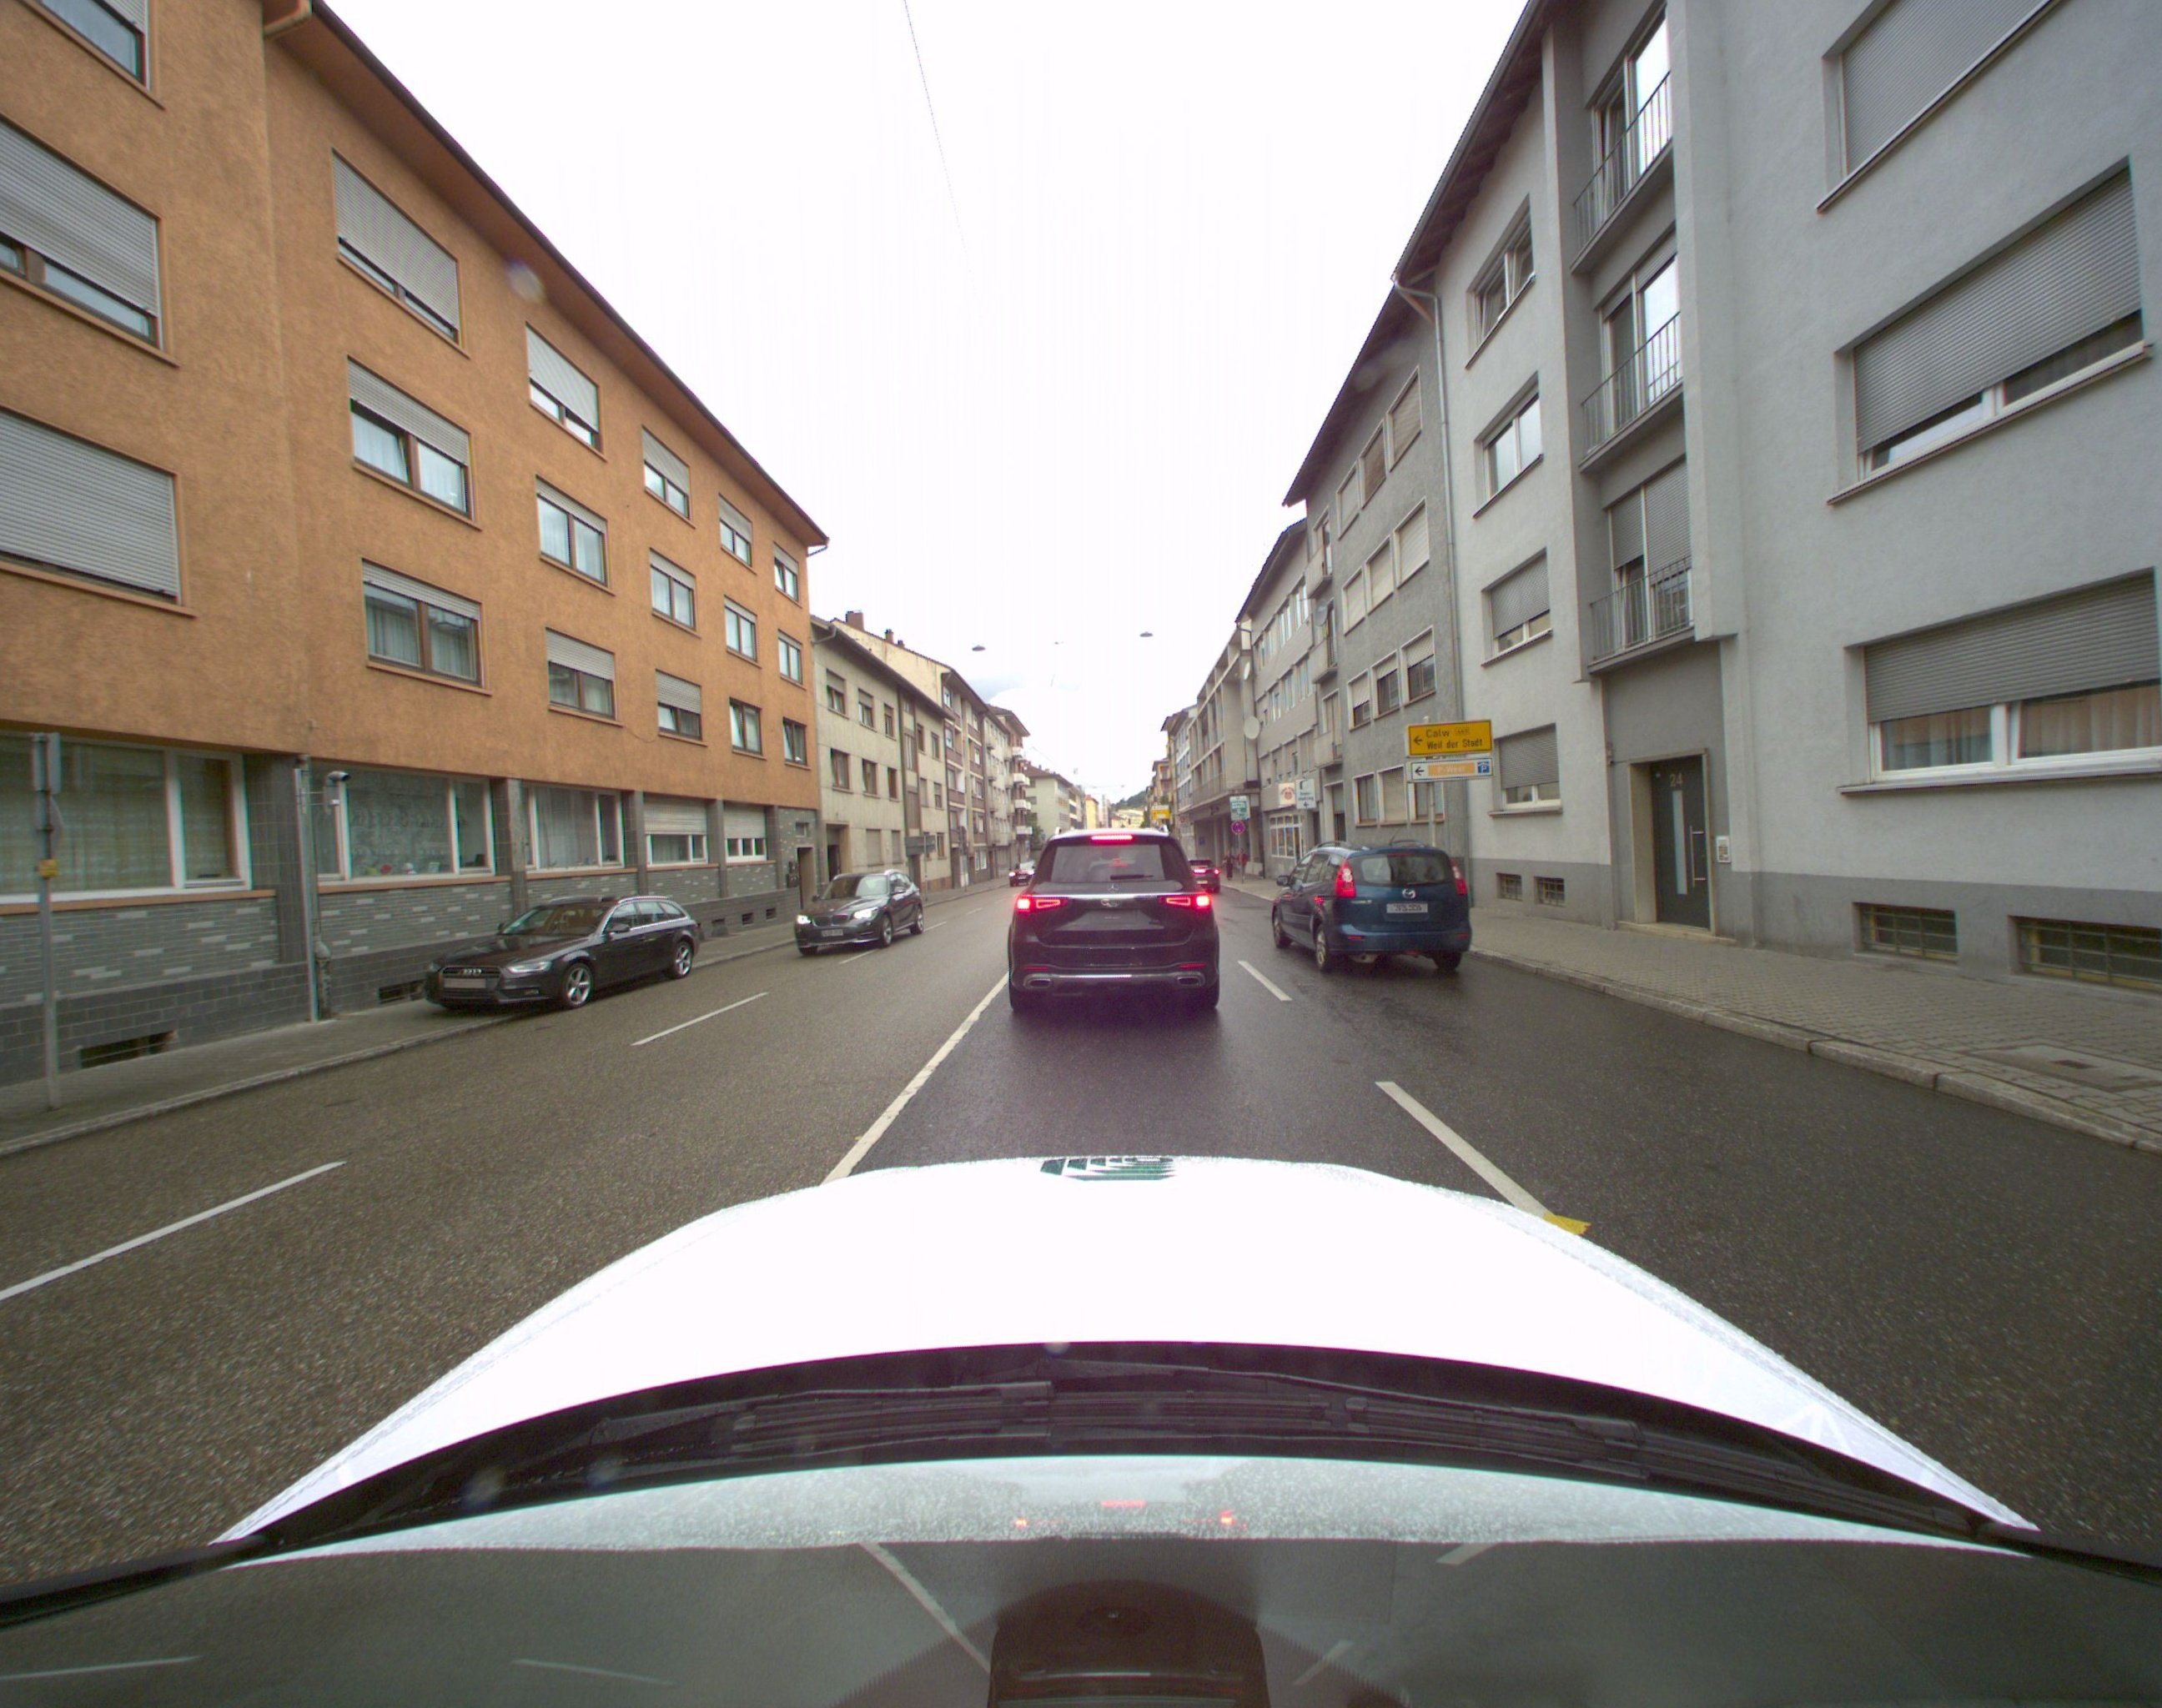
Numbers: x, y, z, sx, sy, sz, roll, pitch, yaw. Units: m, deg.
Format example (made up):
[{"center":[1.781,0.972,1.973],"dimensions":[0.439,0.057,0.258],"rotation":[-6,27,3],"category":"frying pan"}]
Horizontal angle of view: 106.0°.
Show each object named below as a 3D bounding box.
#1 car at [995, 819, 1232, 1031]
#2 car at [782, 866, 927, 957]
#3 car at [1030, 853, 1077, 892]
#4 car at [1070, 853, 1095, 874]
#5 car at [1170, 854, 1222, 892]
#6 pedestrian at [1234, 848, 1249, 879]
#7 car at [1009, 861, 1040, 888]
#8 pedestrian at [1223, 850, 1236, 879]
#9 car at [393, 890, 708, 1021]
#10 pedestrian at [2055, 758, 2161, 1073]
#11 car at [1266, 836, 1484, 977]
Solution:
[{"center":[0.325,0.609,8.970],"dimensions":[2.018,1.806,4.001],"rotation":[0,0,1],"category":"car"},{"center":[-4.614,1.100,17.265],"dimensions":[1.697,1.507,4.160],"rotation":[-5,0,1],"category":"car"},{"center":[-1.349,0.894,41.910],"dimensions":[1.828,1.727,4.479],"rotation":[-5,0,4],"category":"car"},{"center":[0.170,0.849,75.455],"dimensions":[2.119,1.720,4.819],"rotation":[-5,0,1],"category":"car"},{"center":[4.645,0.739,33.422],"dimensions":[1.615,1.430,4.313],"rotation":[0,0,1],"category":"car"},{"center":[8.430,0.496,42.751],"dimensions":[0.558,1.578,0.526],"rotation":[-5,0,1],"category":"pedestrian"},{"center":[-3.836,1.370,56.141],"dimensions":[1.792,1.584,4.314],"rotation":[-5,0,-1],"category":"car"},{"center":[7.801,0.534,42.825],"dimensions":[0.504,1.500,0.563],"rotation":[-5,0,6],"category":"pedestrian"},{"center":[-7.694,1.379,12.485],"dimensions":[1.789,1.438,4.528],"rotation":[0,0,1],"category":"car"},{"center":[6.357,0.325,4.457],"dimensions":[0.641,1.778,1.057],"rotation":[-5,0,1],"category":"pedestrian"},{"center":[3.876,0.611,11.542],"dimensions":[1.800,1.606,4.216],"rotation":[-1,0,4],"category":"car"}]
